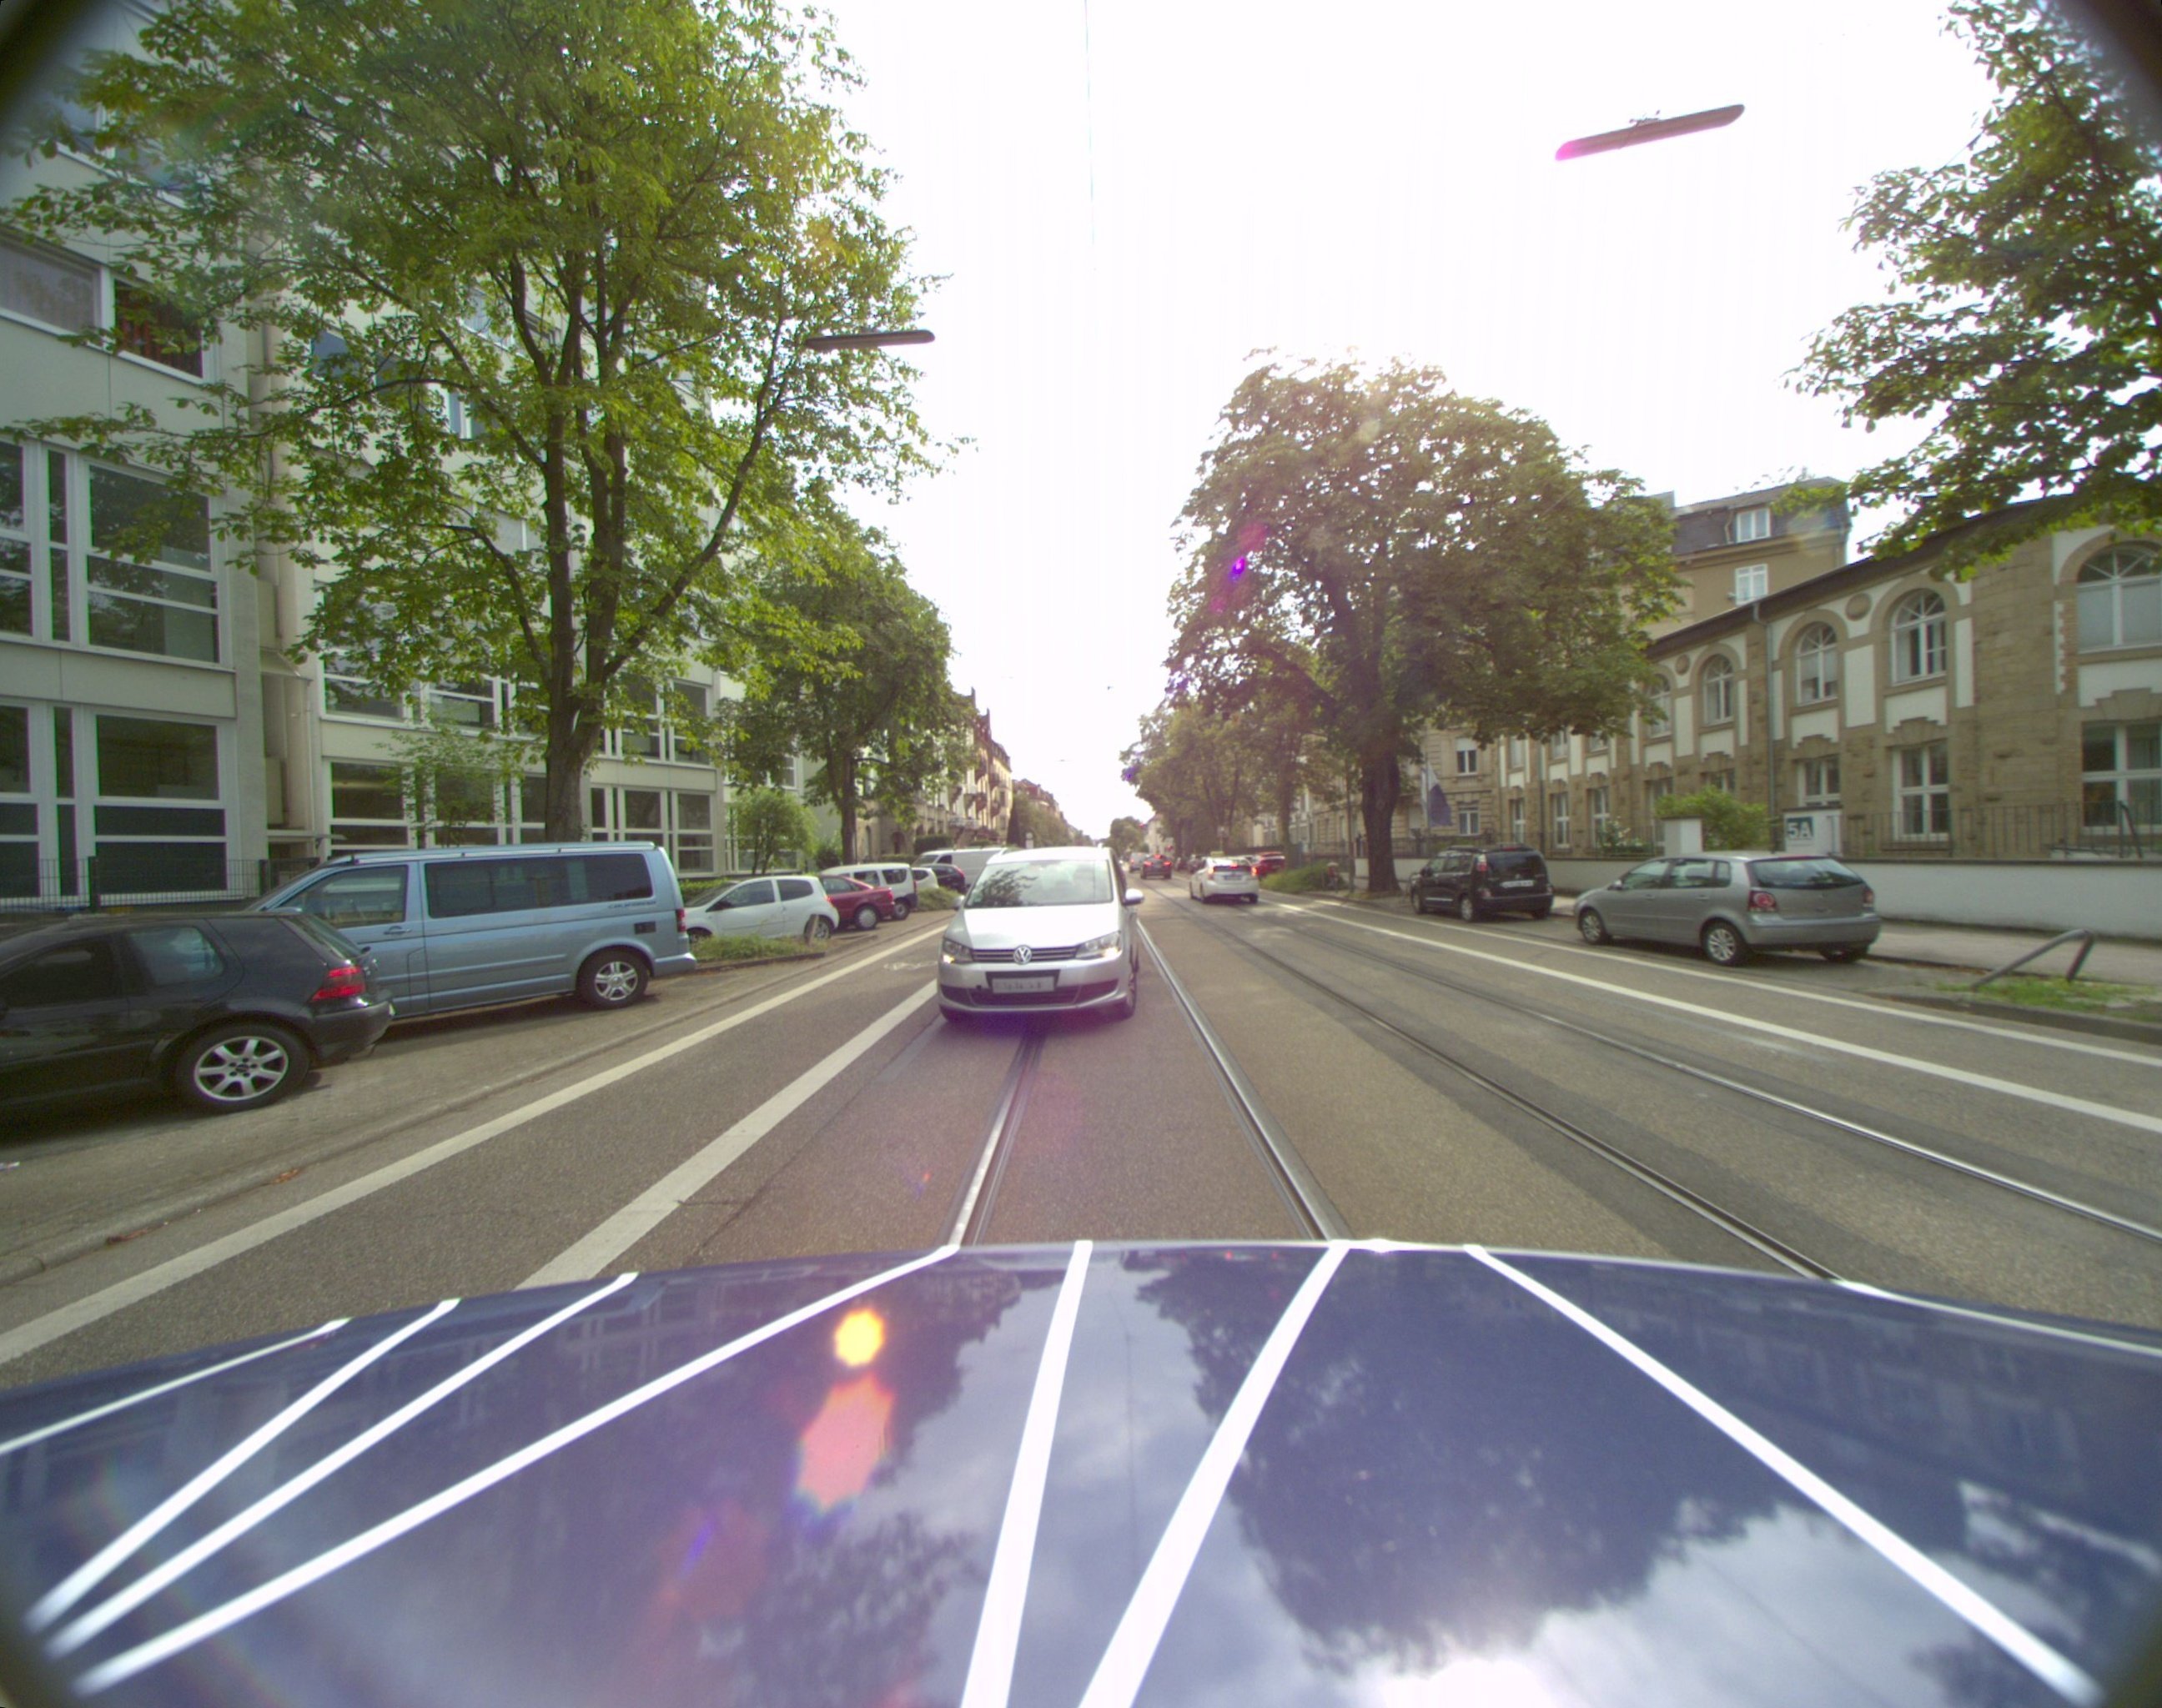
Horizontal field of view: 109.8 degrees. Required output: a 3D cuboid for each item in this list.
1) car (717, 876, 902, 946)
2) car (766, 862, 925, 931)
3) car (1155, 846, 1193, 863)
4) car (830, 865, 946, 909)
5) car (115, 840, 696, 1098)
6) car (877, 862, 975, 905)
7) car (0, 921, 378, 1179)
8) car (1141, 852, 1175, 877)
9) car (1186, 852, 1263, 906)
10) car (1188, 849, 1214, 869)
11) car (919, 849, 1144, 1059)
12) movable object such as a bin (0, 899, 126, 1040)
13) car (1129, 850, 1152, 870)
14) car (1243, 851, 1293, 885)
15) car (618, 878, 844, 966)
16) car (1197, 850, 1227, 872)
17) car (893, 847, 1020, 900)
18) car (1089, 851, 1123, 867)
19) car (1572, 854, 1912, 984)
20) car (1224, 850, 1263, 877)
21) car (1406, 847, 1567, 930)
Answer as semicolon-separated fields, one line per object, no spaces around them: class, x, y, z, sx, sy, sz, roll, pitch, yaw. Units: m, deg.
car;-6.508;1.290;18.385;3.777;1.331;1.809;-2;1;-40
car;-6.545;1.119;21.303;3.777;1.609;1.809;-2;1;-40
car;15.377;0.123;125.539;5.937;2.585;1.997;-2;0;-16
car;-6.974;1.148;27.671;3.652;1.322;1.763;-3;1;-44
car;-6.990;0.941;8.447;4.354;2.052;1.994;-2;0;-45
car;-6.480;1.178;31.803;3.649;1.580;1.764;-2;1;-25
car;-7.407;1.326;5.001;3.980;1.379;1.810;-3;-1;-44
car;5.115;0.672;51.097;1.852;1.603;4.334;-2;0;1
car;4.656;0.762;25.195;1.736;1.603;4.334;-1;0;0
car;10.455;0.431;66.546;1.659;1.624;3.906;-2;0;1
car;-0.289;0.832;8.606;1.816;1.691;4.618;-2;0;3
movable object such as a bin;-12.235;1.286;8.482;1.334;1.450;1.400;-2;0;5
car;5.539;0.550;71.504;1.799;1.813;4.678;-2;0;1
car;9.755;0.698;39.936;1.659;1.624;3.906;-2;0;1
car;-6.852;1.250;15.086;3.652;1.322;1.763;-3;1;-44
car;10.144;0.525;59.236;1.659;1.624;3.906;-2;0;1
car;-5.722;0.832;35.483;5.449;2.163;2.142;-2;1;-40
car;4.126;0.788;123.720;5.254;2.333;2.001;-2;0;9
car;8.834;0.754;10.614;1.632;1.456;3.574;-2;0;1
car;10.360;0.592;48.694;1.659;1.592;3.906;-2;0;1
car;8.982;0.695;17.202;1.659;1.624;3.725;-2;0;1
